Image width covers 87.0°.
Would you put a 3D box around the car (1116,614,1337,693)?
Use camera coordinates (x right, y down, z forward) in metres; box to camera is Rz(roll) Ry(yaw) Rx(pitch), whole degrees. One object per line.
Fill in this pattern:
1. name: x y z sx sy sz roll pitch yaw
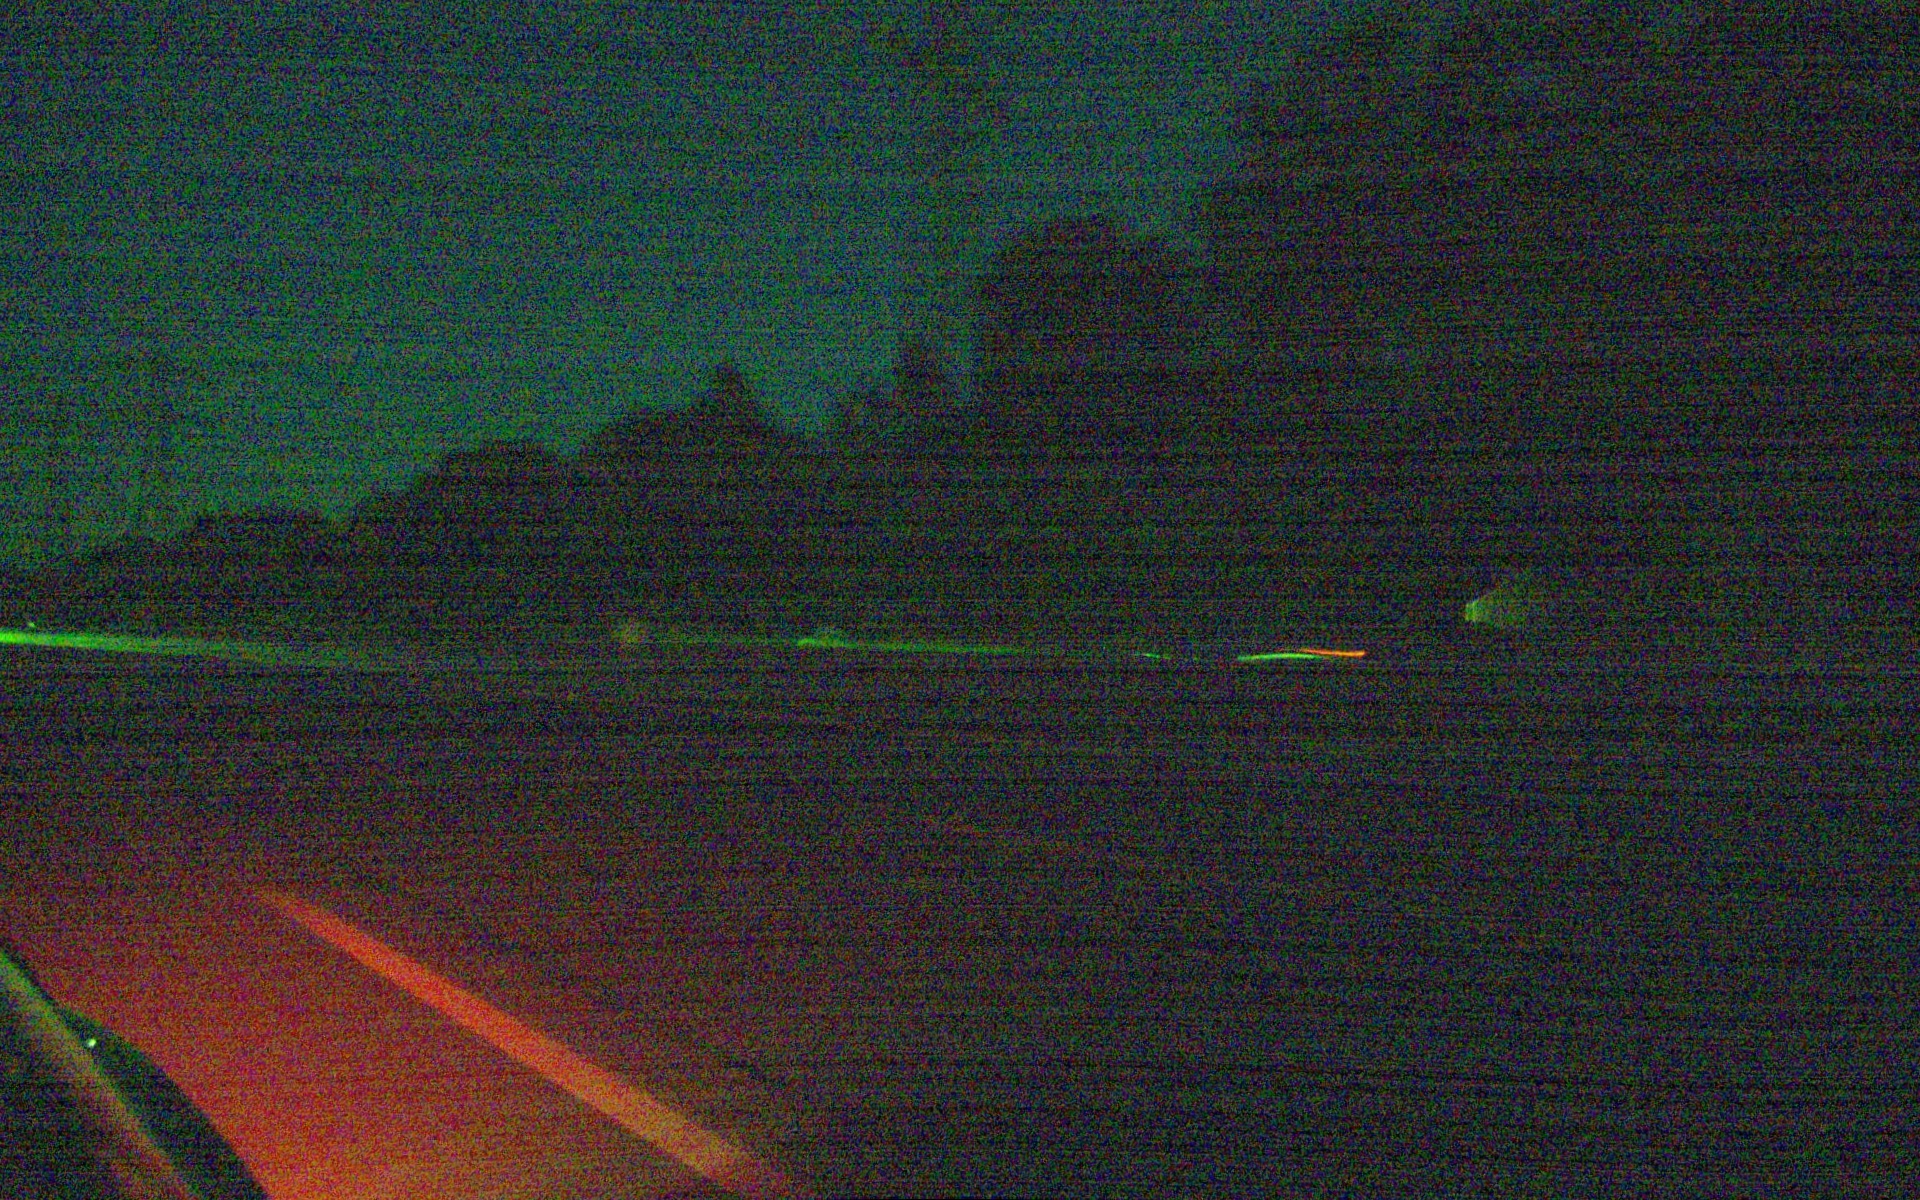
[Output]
1. car: 6.187 1.193 23.849 4.699 1.658 1.879 -1 -1 40
